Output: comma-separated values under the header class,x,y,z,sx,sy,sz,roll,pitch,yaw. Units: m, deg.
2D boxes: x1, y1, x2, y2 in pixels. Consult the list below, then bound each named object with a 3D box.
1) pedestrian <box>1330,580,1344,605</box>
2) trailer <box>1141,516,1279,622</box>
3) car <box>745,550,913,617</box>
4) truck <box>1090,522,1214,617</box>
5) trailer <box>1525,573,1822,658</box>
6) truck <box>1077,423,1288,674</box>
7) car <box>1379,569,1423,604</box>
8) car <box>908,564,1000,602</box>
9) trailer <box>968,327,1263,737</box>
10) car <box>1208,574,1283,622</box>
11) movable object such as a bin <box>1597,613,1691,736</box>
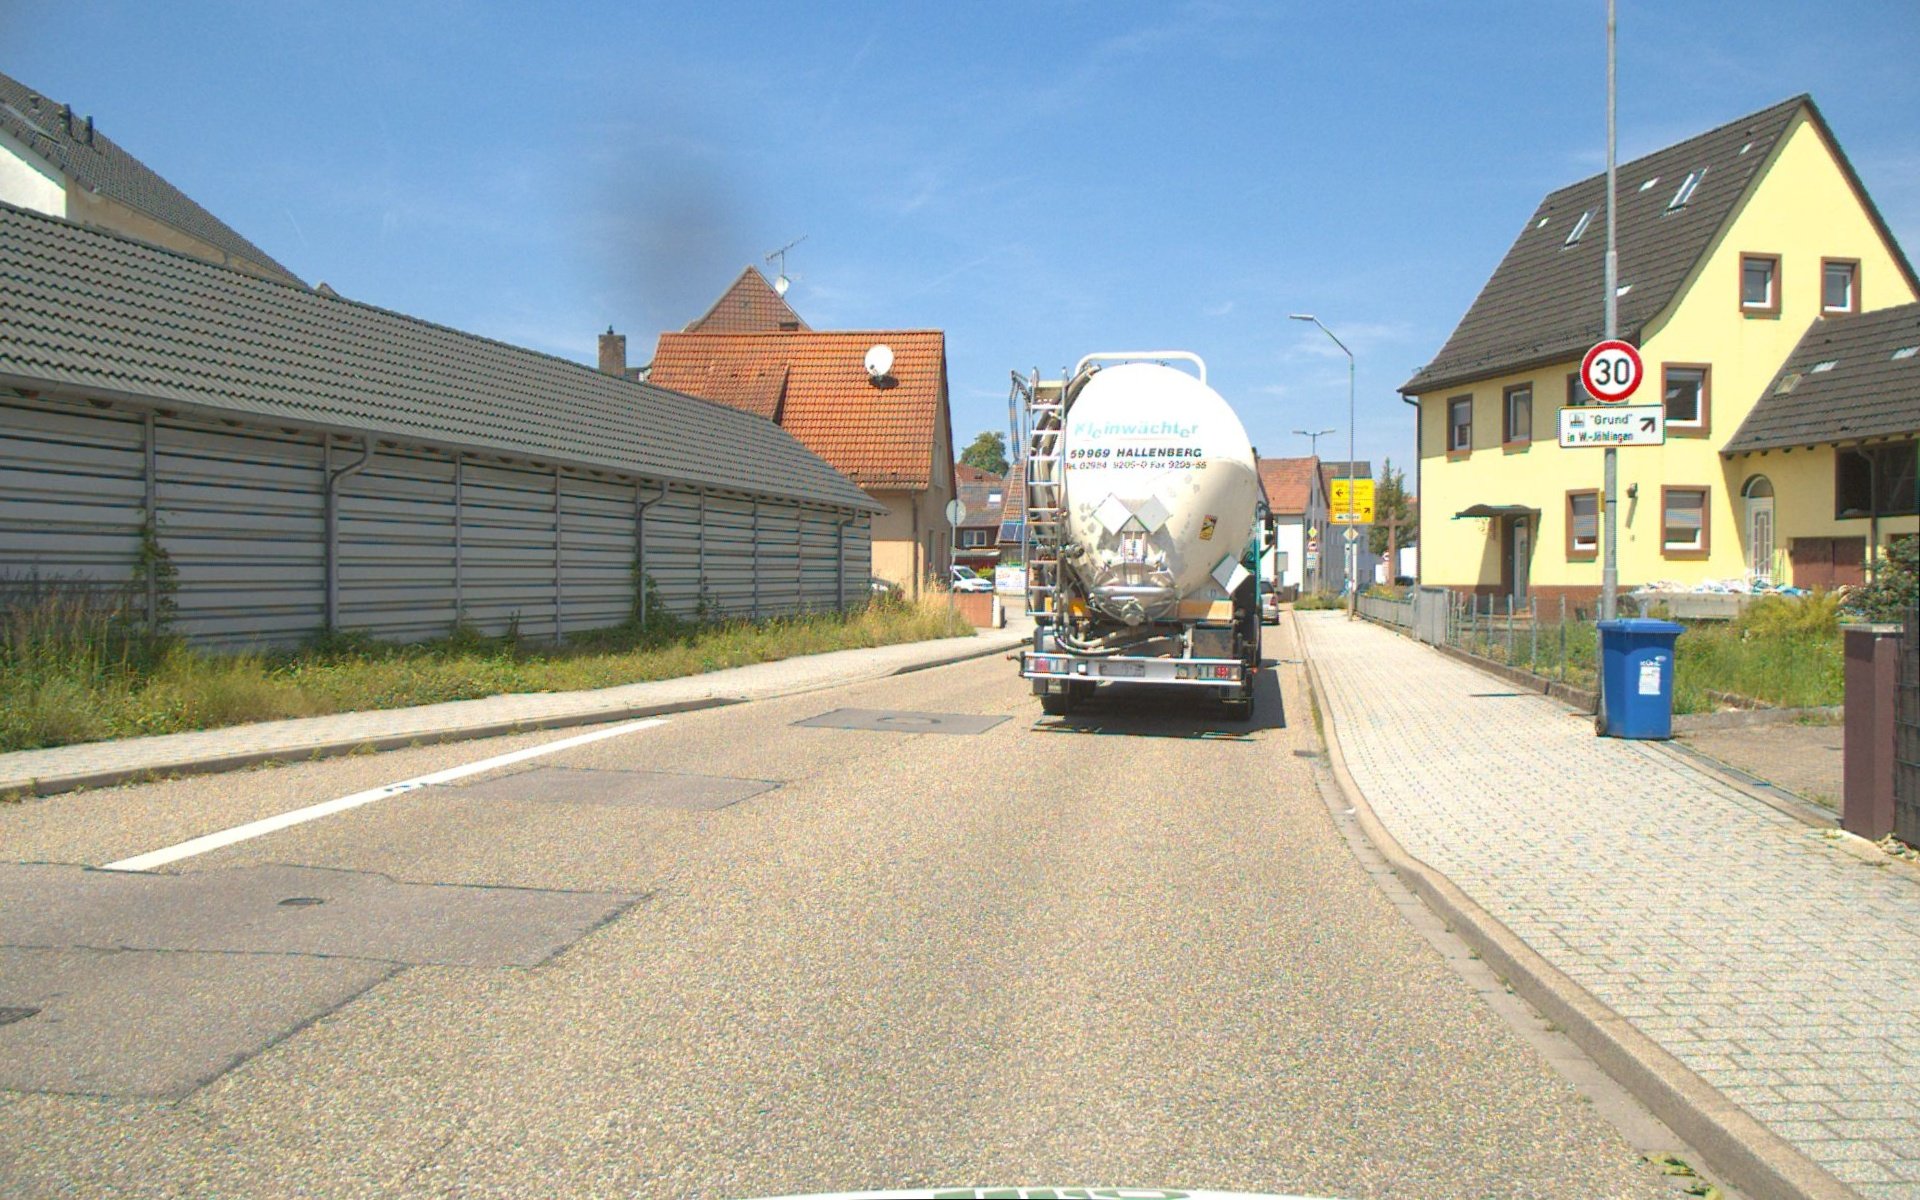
class,x,y,z,sx,sy,sz,roll,pitch,yaw
pedestrian,30.855,-0.600,135.367,0.755,2.049,0.974,1,1,32
trailer,11.072,-1.341,74.935,3.072,4.352,12.478,1,0,-6
car,-3.425,-0.433,43.530,4.036,1.666,1.867,-1,1,13
truck,9.431,-1.467,81.866,3.076,4.478,5.867,1,0,-33
trailer,13.945,0.308,32.374,5.263,1.573,2.128,1,0,-18
truck,4.140,-0.852,29.720,2.924,4.034,5.582,0,0,16
car,26.752,-0.792,100.325,1.953,1.945,4.322,1,-1,23
car,-0.324,-0.884,84.656,4.427,1.816,1.875,2,2,33
trailer,2.572,-0.711,22.204,2.889,4.017,11.629,0,0,10
car,9.445,-0.079,54.962,1.804,1.512,4.000,1,0,0
movable object such as a bin,6.191,0.661,14.991,0.553,1.076,0.650,0,0,-4
